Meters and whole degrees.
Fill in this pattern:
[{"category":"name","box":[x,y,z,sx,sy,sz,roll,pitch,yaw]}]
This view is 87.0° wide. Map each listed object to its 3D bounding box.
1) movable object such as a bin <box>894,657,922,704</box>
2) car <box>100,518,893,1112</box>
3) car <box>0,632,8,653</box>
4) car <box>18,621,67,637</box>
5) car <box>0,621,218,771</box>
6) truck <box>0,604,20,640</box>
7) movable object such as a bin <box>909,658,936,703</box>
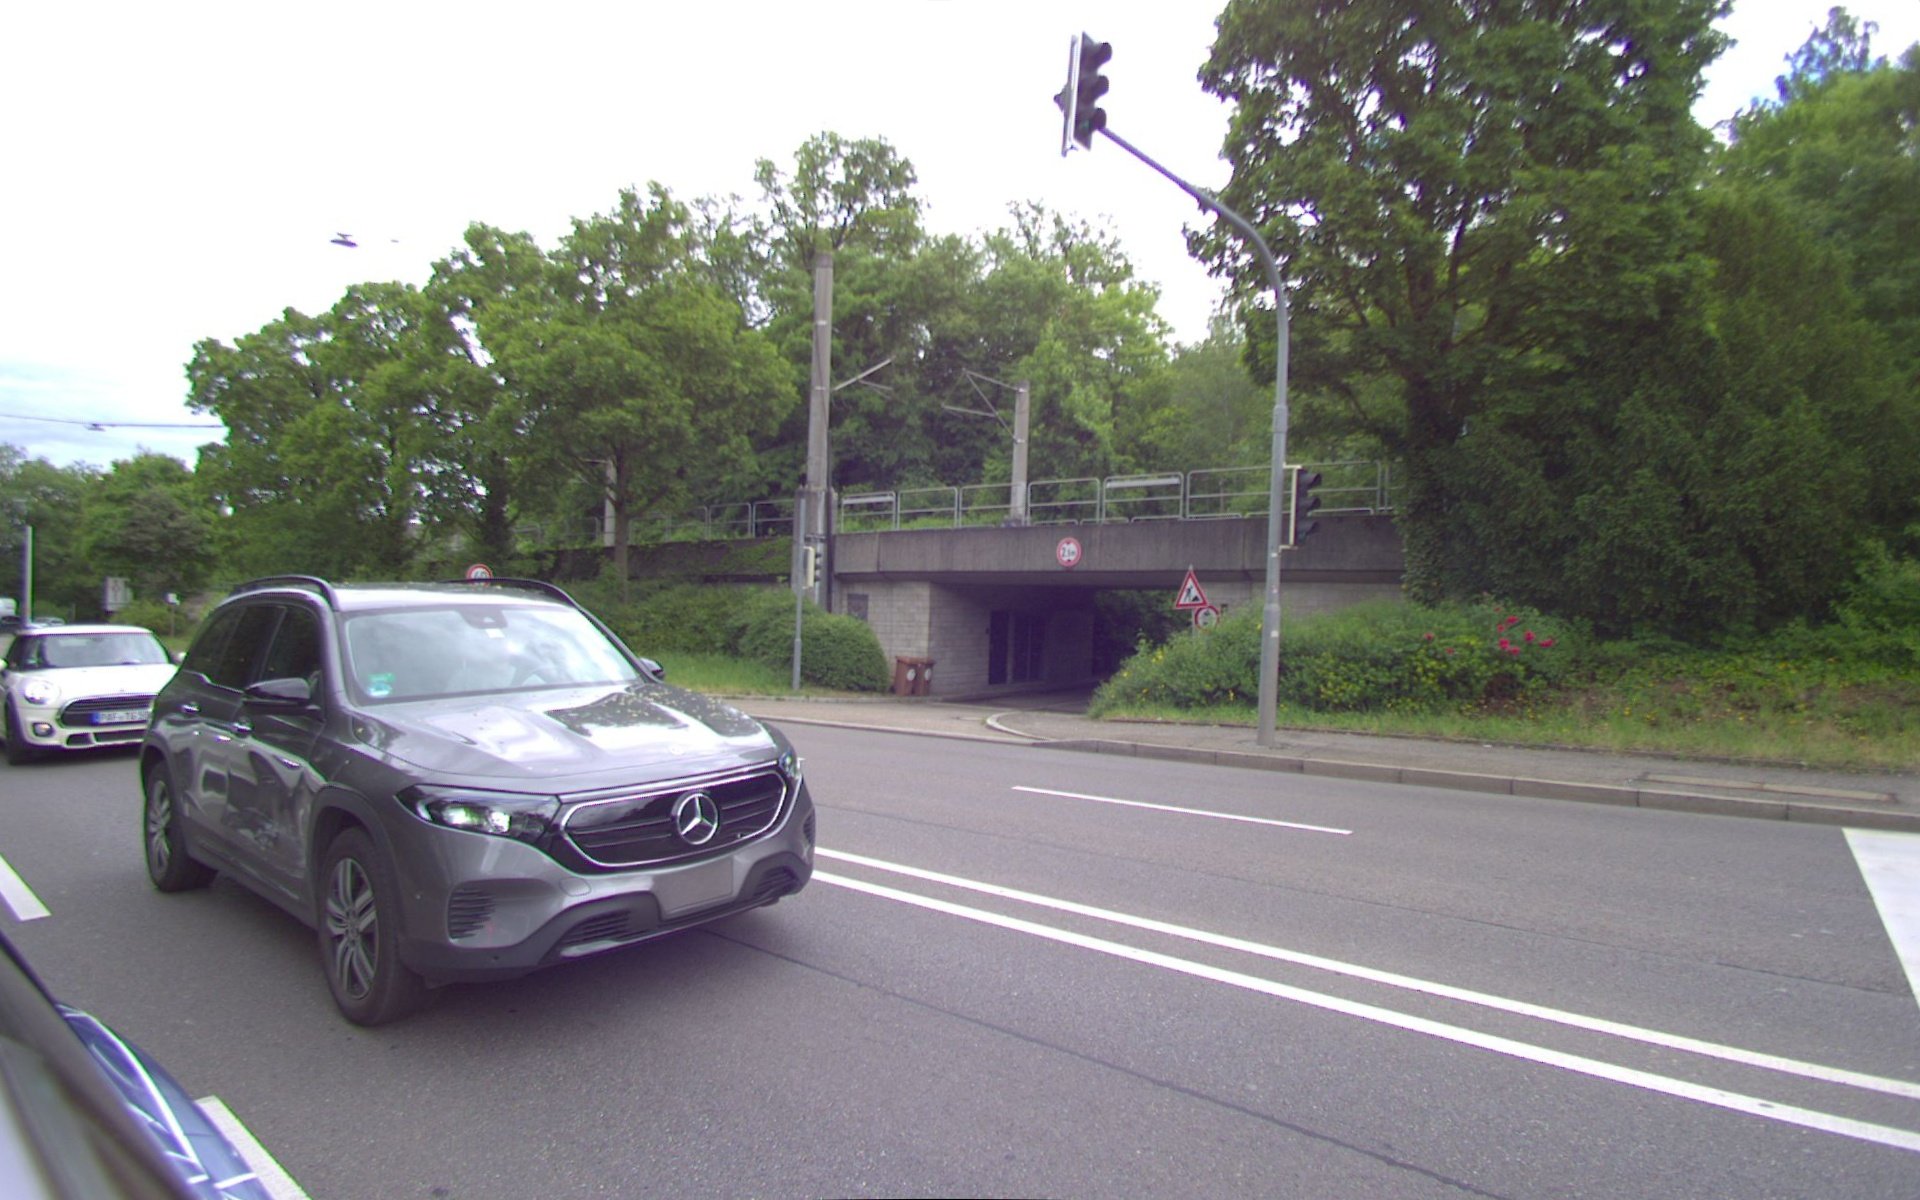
[{"category":"movable object such as a bin","box":[-1.244,1.918,24.196,0.503,1.071,0.414,-1,-3,36]},{"category":"car","box":[-2.537,0.644,4.952,4.353,1.664,1.831,-1,-1,40]},{"category":"car","box":[-81.917,3.573,84.973,1.748,1.814,4.013,1,-2,-26]},{"category":"car","box":[-88.759,2.835,97.978,1.727,1.372,4.021,4,-4,-14]},{"category":"car","box":[-10.041,0.970,11.632,3.731,1.434,1.667,-1,-1,41]},{"category":"truck","box":[-86.338,1.908,89.303,2.164,3.180,6.670,2,-3,-17]},{"category":"movable object such as a bin","box":[-0.924,1.959,24.728,0.503,1.071,0.414,-1,-3,36]}]
